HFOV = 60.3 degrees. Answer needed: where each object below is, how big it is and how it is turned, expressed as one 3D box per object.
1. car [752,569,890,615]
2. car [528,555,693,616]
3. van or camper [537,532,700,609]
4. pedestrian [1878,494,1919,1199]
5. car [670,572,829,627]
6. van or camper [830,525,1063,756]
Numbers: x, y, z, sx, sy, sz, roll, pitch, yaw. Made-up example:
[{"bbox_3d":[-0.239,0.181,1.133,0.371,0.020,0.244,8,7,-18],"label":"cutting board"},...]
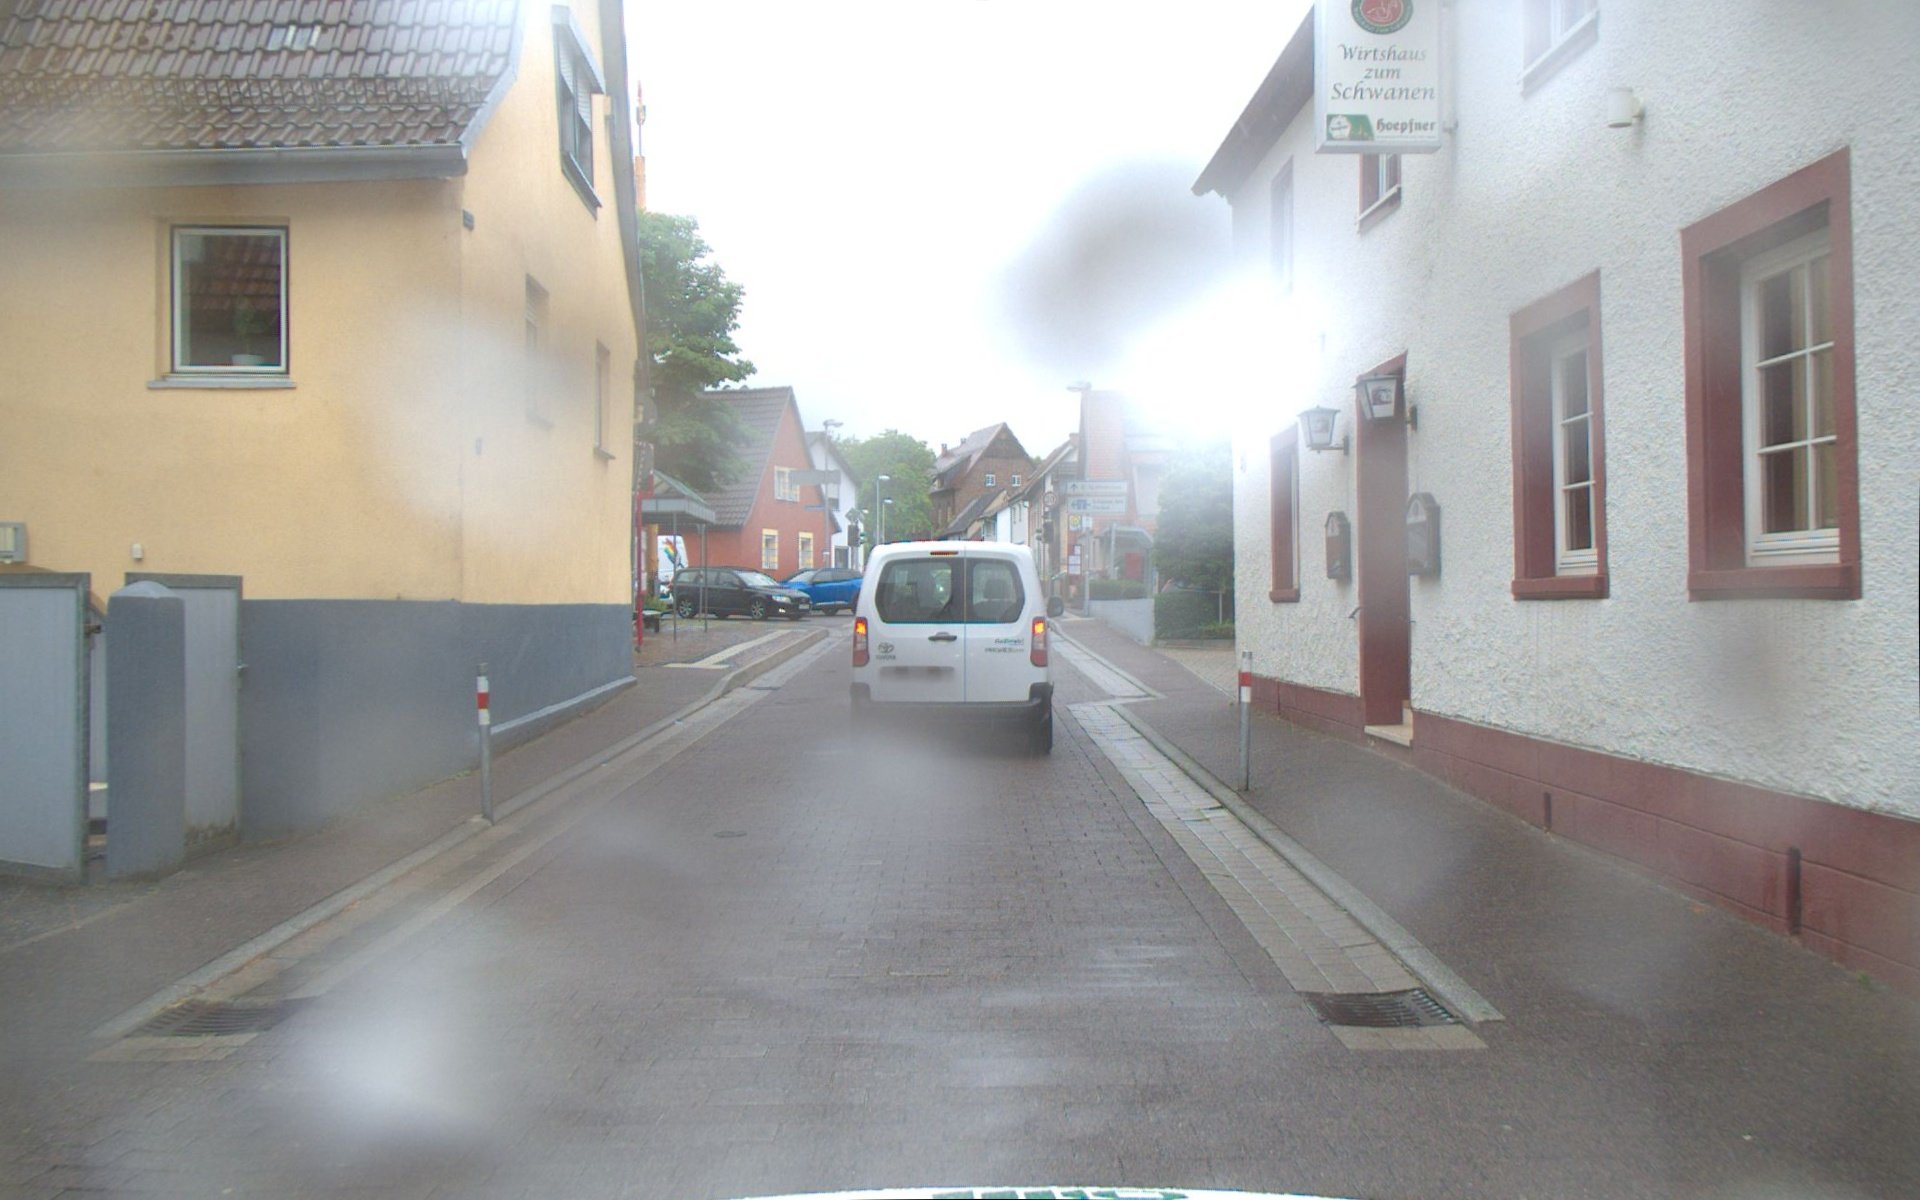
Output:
[{"bbox_3d":[-4.449,-0.262,53.143,3.959,1.397,2.082,-1,-1,-38],"label":"car"},{"bbox_3d":[-10.123,-0.457,47.912,4.354,1.576,1.883,2,3,20],"label":"car"},{"bbox_3d":[-11.498,-0.997,55.661,5.041,2.478,2.210,0,2,26],"label":"van or camper"},{"bbox_3d":[2.913,0.621,4.090,0.987,1.766,0.800,-2,3,-38],"label":"pedestrian"},{"bbox_3d":[-6.117,-0.029,48.030,4.211,1.503,1.850,1,0,21],"label":"car"},{"bbox_3d":[-0.178,0.329,15.676,1.904,1.883,3.998,1,0,-2],"label":"van or camper"}]
